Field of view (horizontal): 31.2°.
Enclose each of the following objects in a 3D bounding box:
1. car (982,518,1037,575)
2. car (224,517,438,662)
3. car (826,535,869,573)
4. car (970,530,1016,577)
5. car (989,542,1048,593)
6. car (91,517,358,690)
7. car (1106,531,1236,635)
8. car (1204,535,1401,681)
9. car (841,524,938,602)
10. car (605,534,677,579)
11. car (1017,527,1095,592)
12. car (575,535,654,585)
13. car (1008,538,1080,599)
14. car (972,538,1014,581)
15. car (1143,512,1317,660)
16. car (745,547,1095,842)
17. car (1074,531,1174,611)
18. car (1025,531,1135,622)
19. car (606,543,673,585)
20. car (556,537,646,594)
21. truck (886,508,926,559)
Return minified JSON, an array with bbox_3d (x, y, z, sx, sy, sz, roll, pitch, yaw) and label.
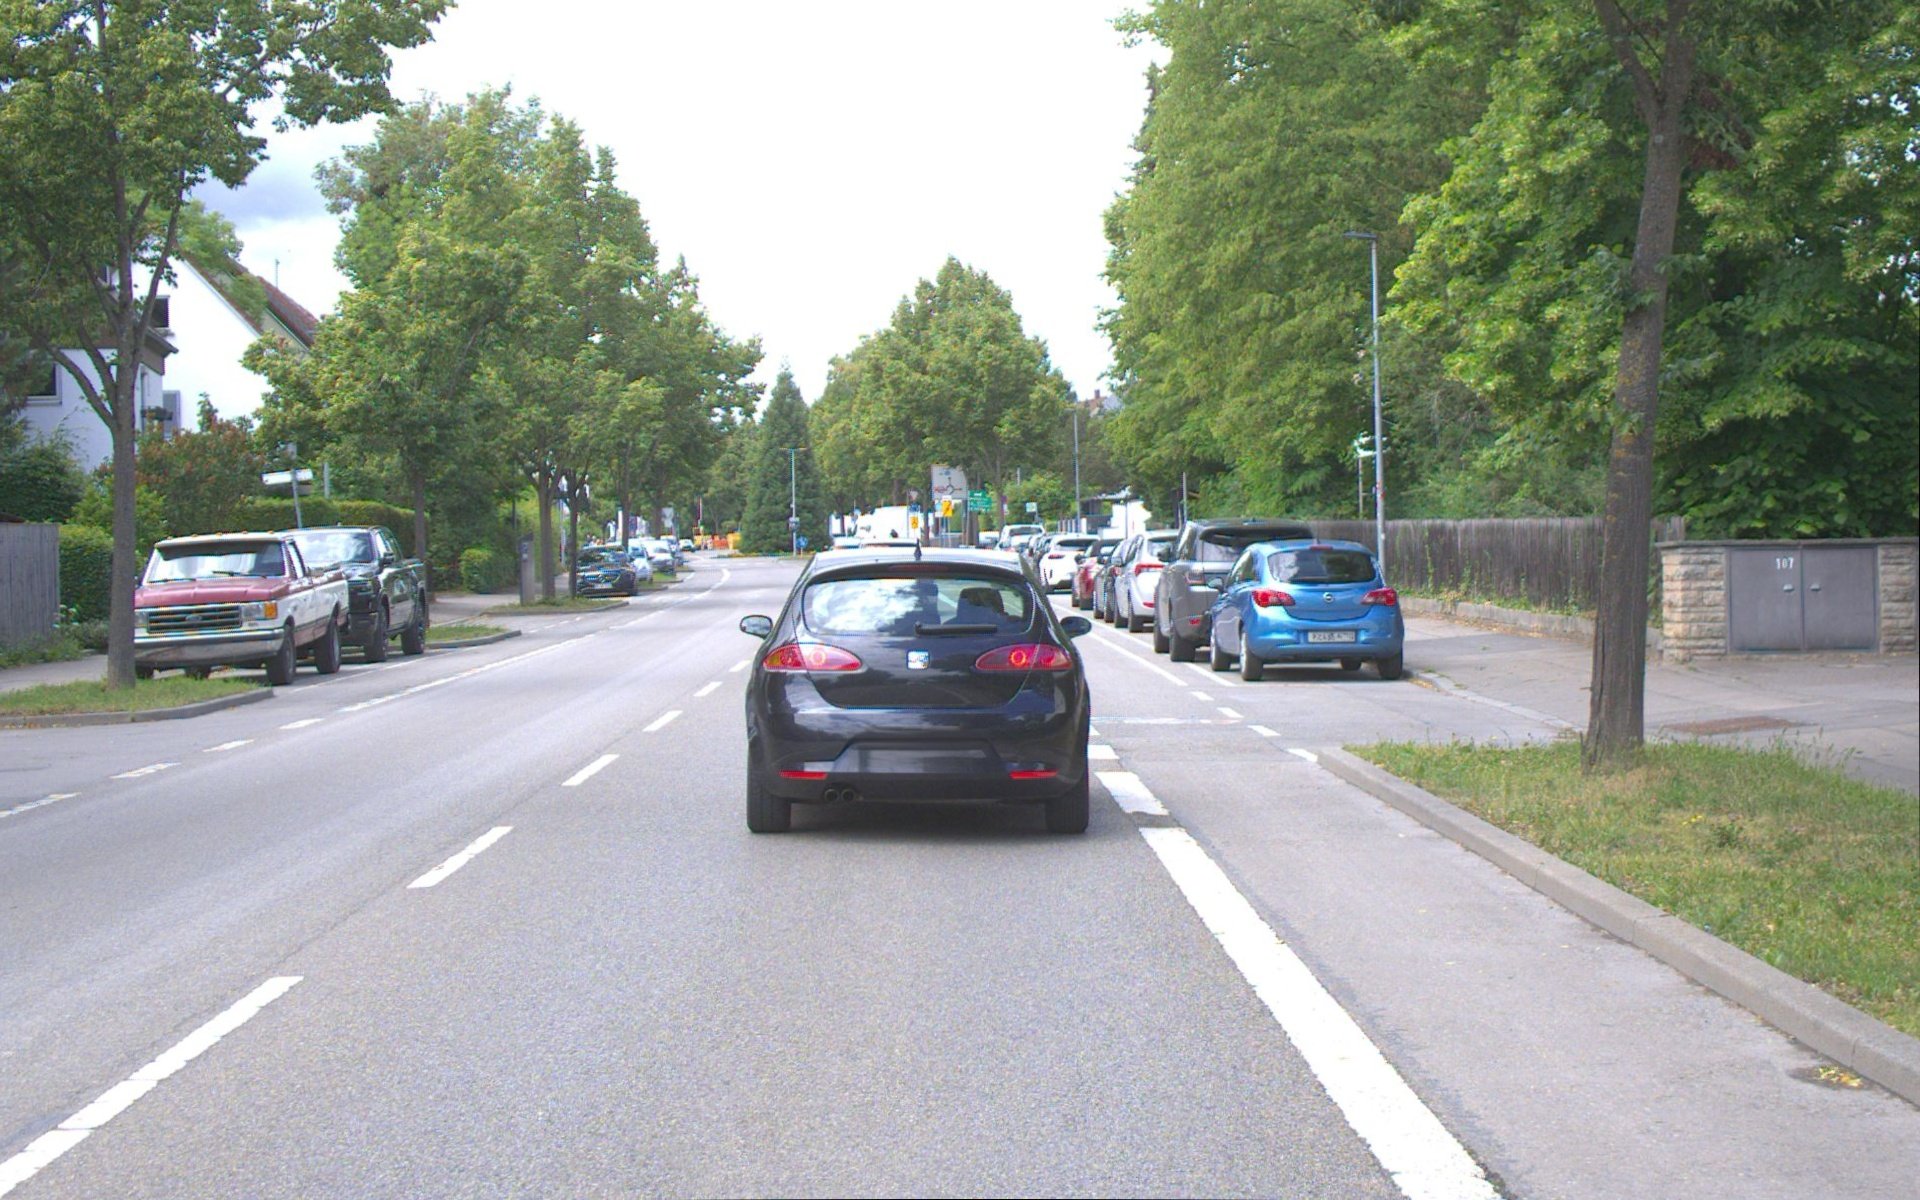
[{"bbox_3d":[1.672,-1.812,116.829,1.688,1.869,4.214,-1,1,-2],"label":"car"},{"bbox_3d":[-9.036,-0.198,49.879,2.100,1.890,5.784,-3,1,-1],"label":"car"},{"bbox_3d":[-5.054,-2.083,154.635,1.881,1.683,4.214,-1,1,-2],"label":"car"},{"bbox_3d":[1.348,-1.912,141.314,1.688,1.869,4.214,-1,1,-2],"label":"car"},{"bbox_3d":[1.849,-1.054,109.952,1.688,1.559,4.214,-1,1,-2],"label":"car"},{"bbox_3d":[-8.929,-0.012,42.272,2.100,1.890,5.784,-3,1,-1],"label":"car"},{"bbox_3d":[3.316,-0.297,54.742,1.688,1.559,4.214,-1,1,-2],"label":"car"},{"bbox_3d":[3.660,0.054,37.185,1.688,1.485,3.355,-1,1,-2],"label":"car"},{"bbox_3d":[-1.397,-0.752,69.489,1.846,1.504,3.812,1,1,0],"label":"car"},{"bbox_3d":[-11.316,-1.564,122.315,2.100,1.501,5.784,-3,1,-1],"label":"car"},{"bbox_3d":[2.362,-1.025,85.461,1.688,1.559,4.214,-1,1,-2],"label":"car"},{"bbox_3d":[-11.259,-1.318,112.339,2.100,1.501,5.784,-3,1,-1],"label":"car"},{"bbox_3d":[2.210,-0.856,91.328,1.688,1.559,4.214,-1,1,-2],"label":"car"},{"bbox_3d":[1.448,-1.807,153.029,1.688,1.869,4.214,-1,1,-2],"label":"car"},{"bbox_3d":[3.269,-0.204,42.289,1.688,1.705,4.214,-1,1,-2],"label":"car"},{"bbox_3d":[-0.281,0.429,18.396,1.662,1.396,3.812,1,1,-3],"label":"car"},{"bbox_3d":[3.292,-0.606,69.704,1.688,1.559,4.214,-1,1,-2],"label":"car"},{"bbox_3d":[2.112,-0.441,61.410,1.688,1.559,4.214,-1,1,-2],"label":"car"},{"bbox_3d":[-12.306,-1.393,132.269,2.100,1.501,5.784,-3,1,-1],"label":"car"},{"bbox_3d":[-10.360,-1.014,99.640,2.100,1.501,5.784,-3,1,-1],"label":"car"},{"bbox_3d":[-3.421,-4.116,215.465,2.278,3.093,8.511,1,1,-2],"label":"truck"}]
